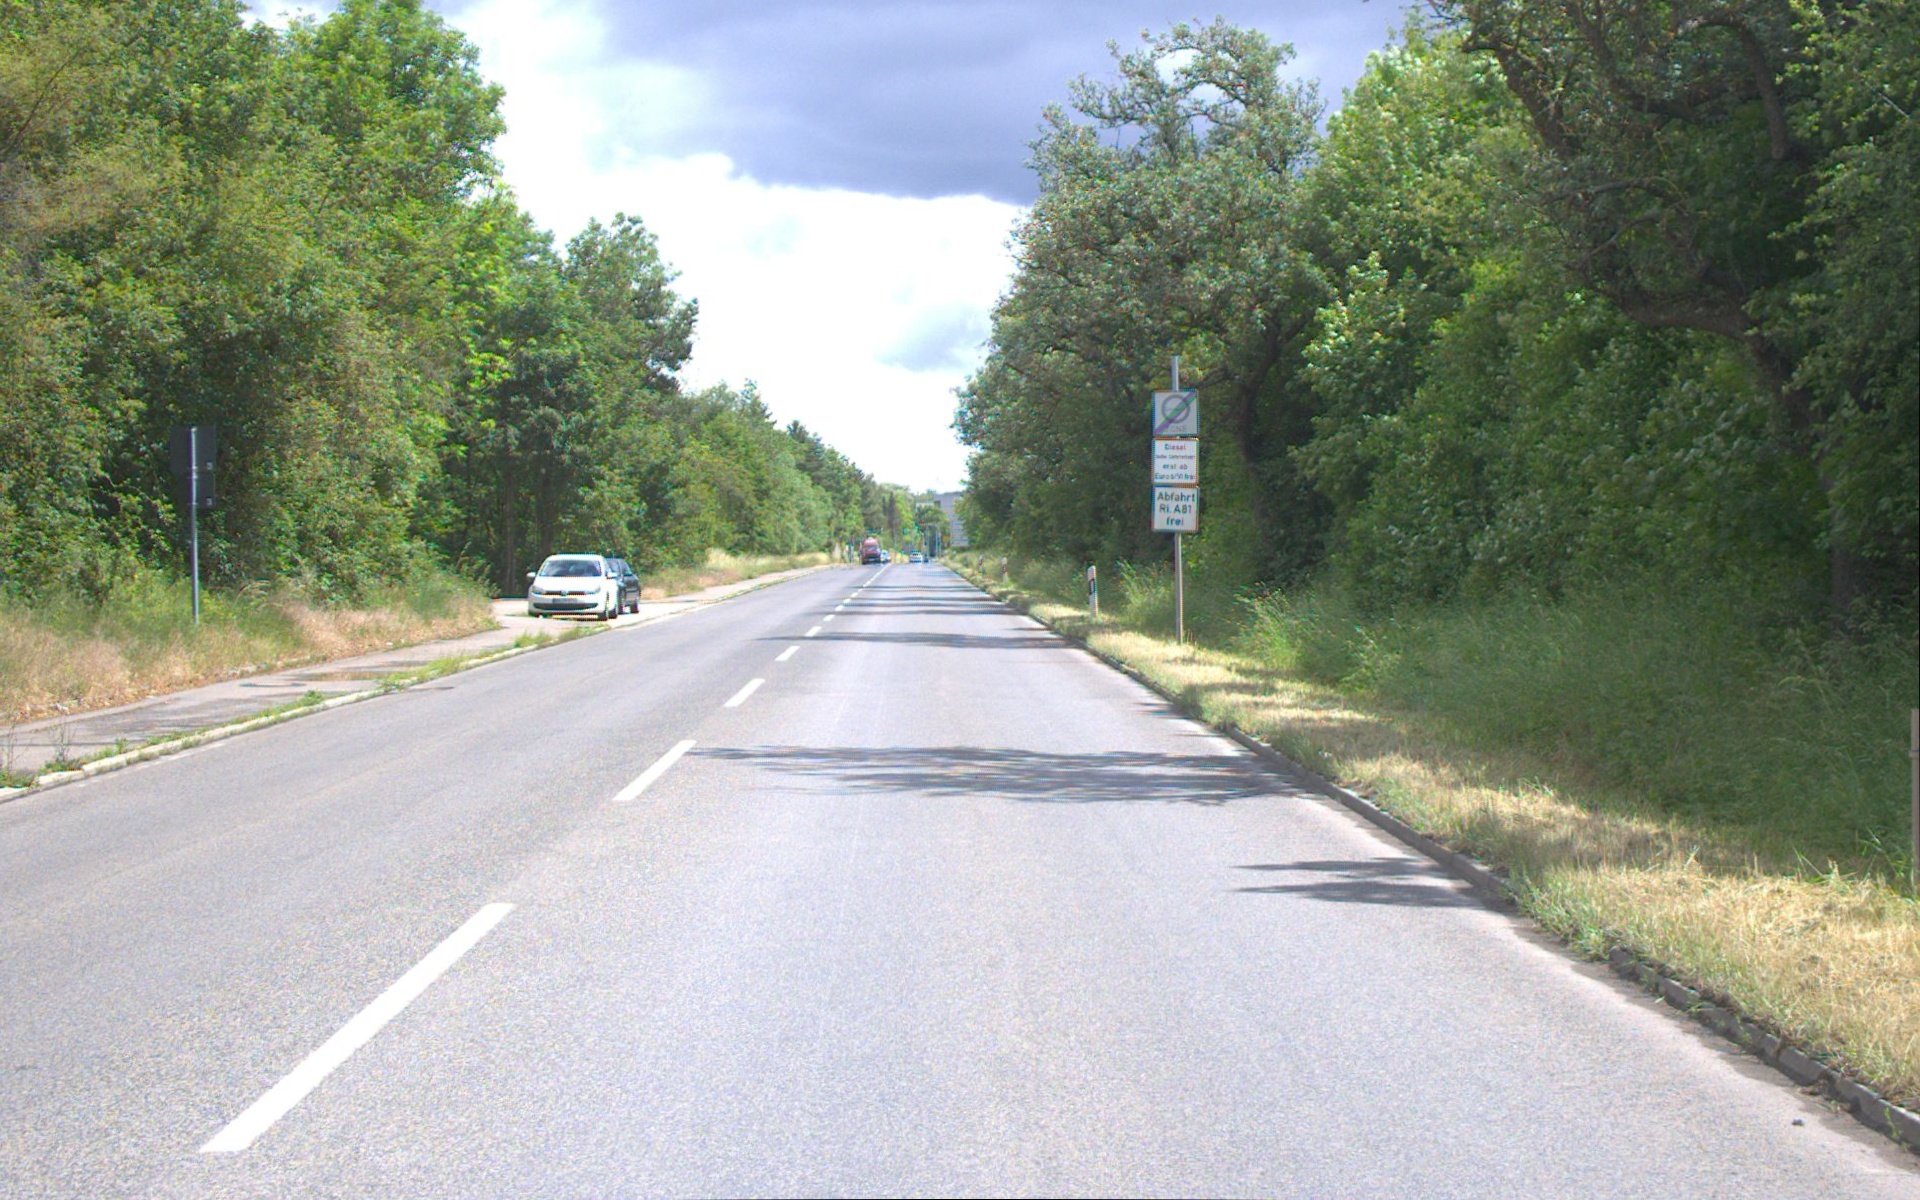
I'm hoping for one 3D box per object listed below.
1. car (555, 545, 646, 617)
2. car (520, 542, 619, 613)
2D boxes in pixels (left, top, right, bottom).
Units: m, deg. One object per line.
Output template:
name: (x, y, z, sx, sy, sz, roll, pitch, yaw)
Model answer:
car: (-8.902, -0.488, 85.390, 1.798, 1.619, 3.955, -1, 2, 1)
car: (-8.797, -0.498, 77.668, 1.798, 1.538, 3.955, -1, 0, -1)
